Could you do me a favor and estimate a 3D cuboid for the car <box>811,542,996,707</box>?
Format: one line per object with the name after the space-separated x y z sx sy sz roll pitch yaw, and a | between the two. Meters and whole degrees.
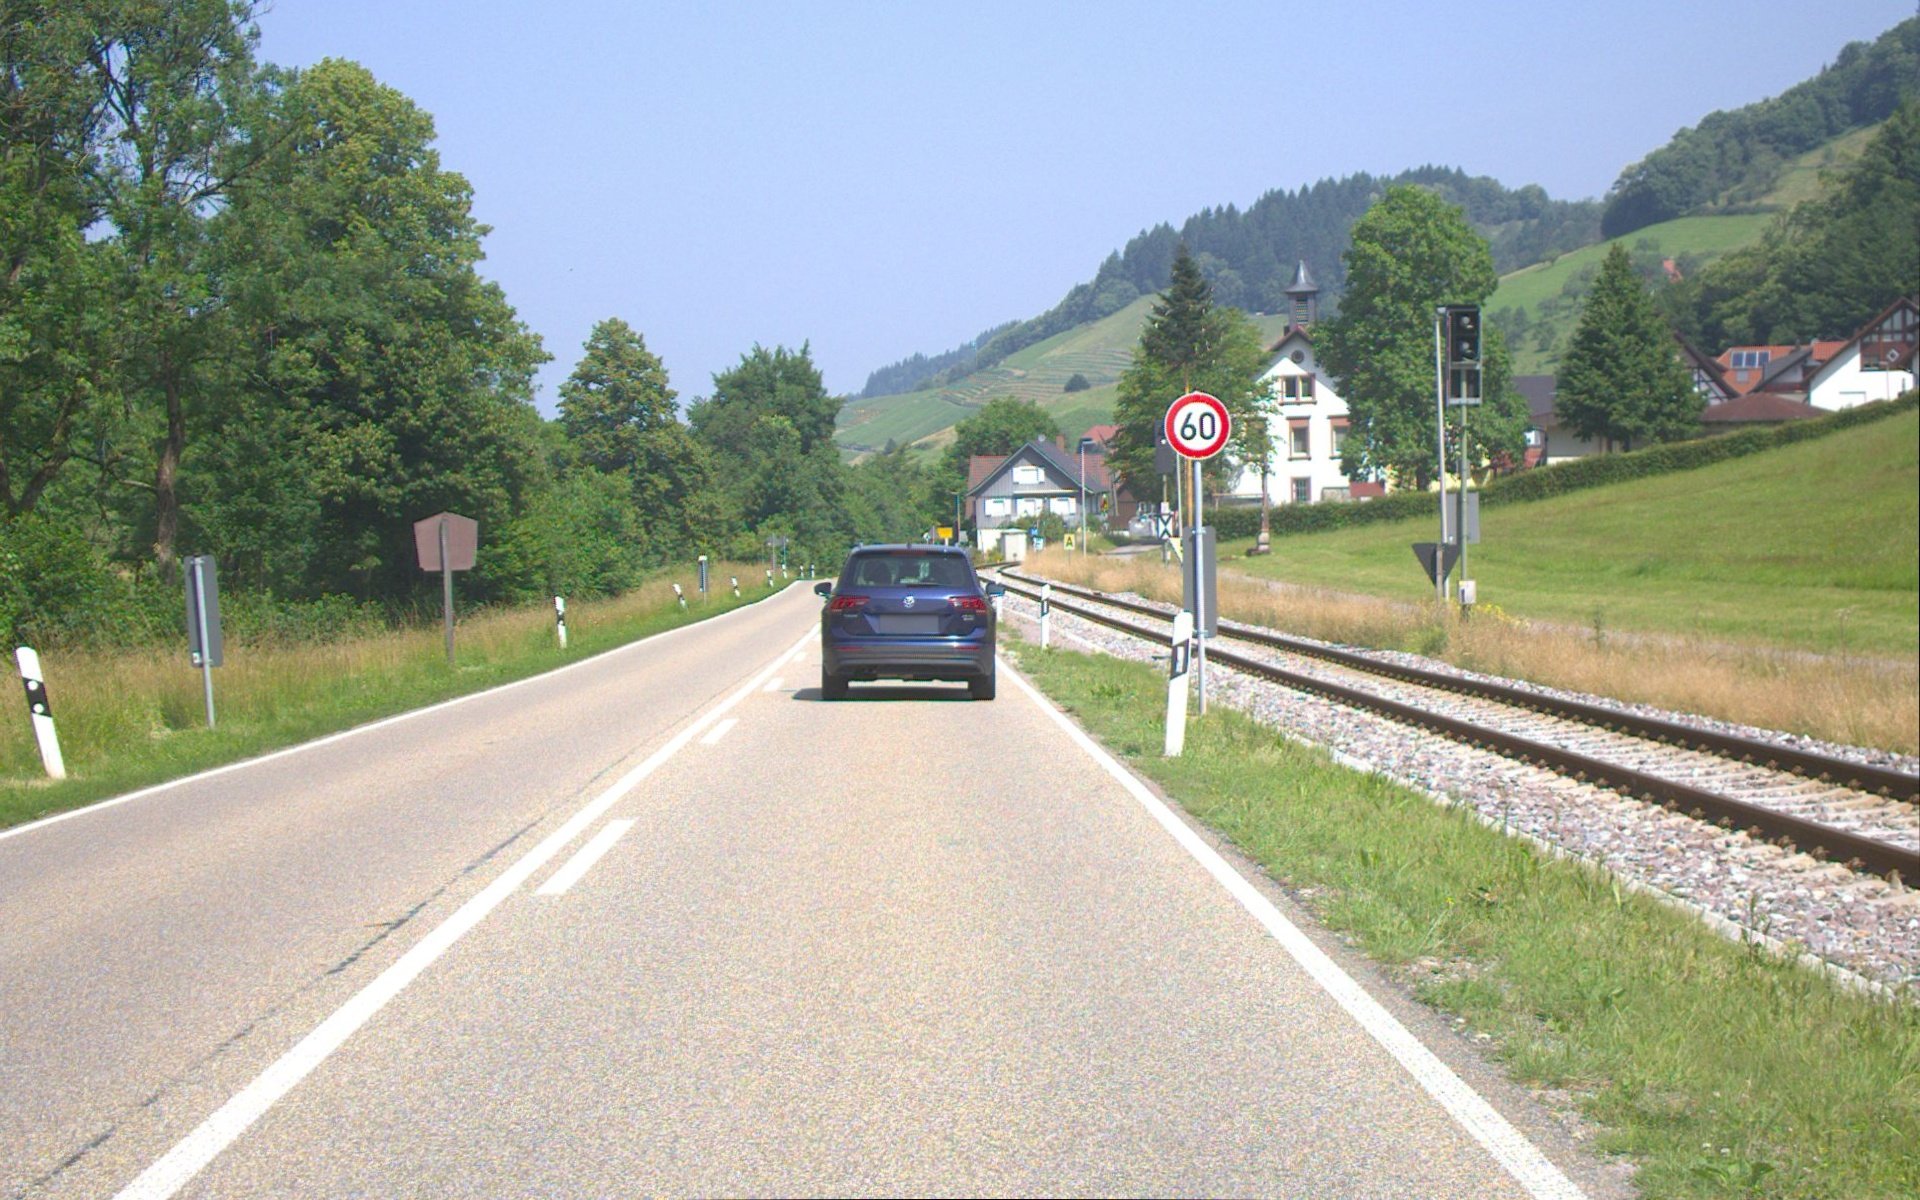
-0.589 0.213 36.629 1.852 1.643 4.140 0 1 -1 | car
